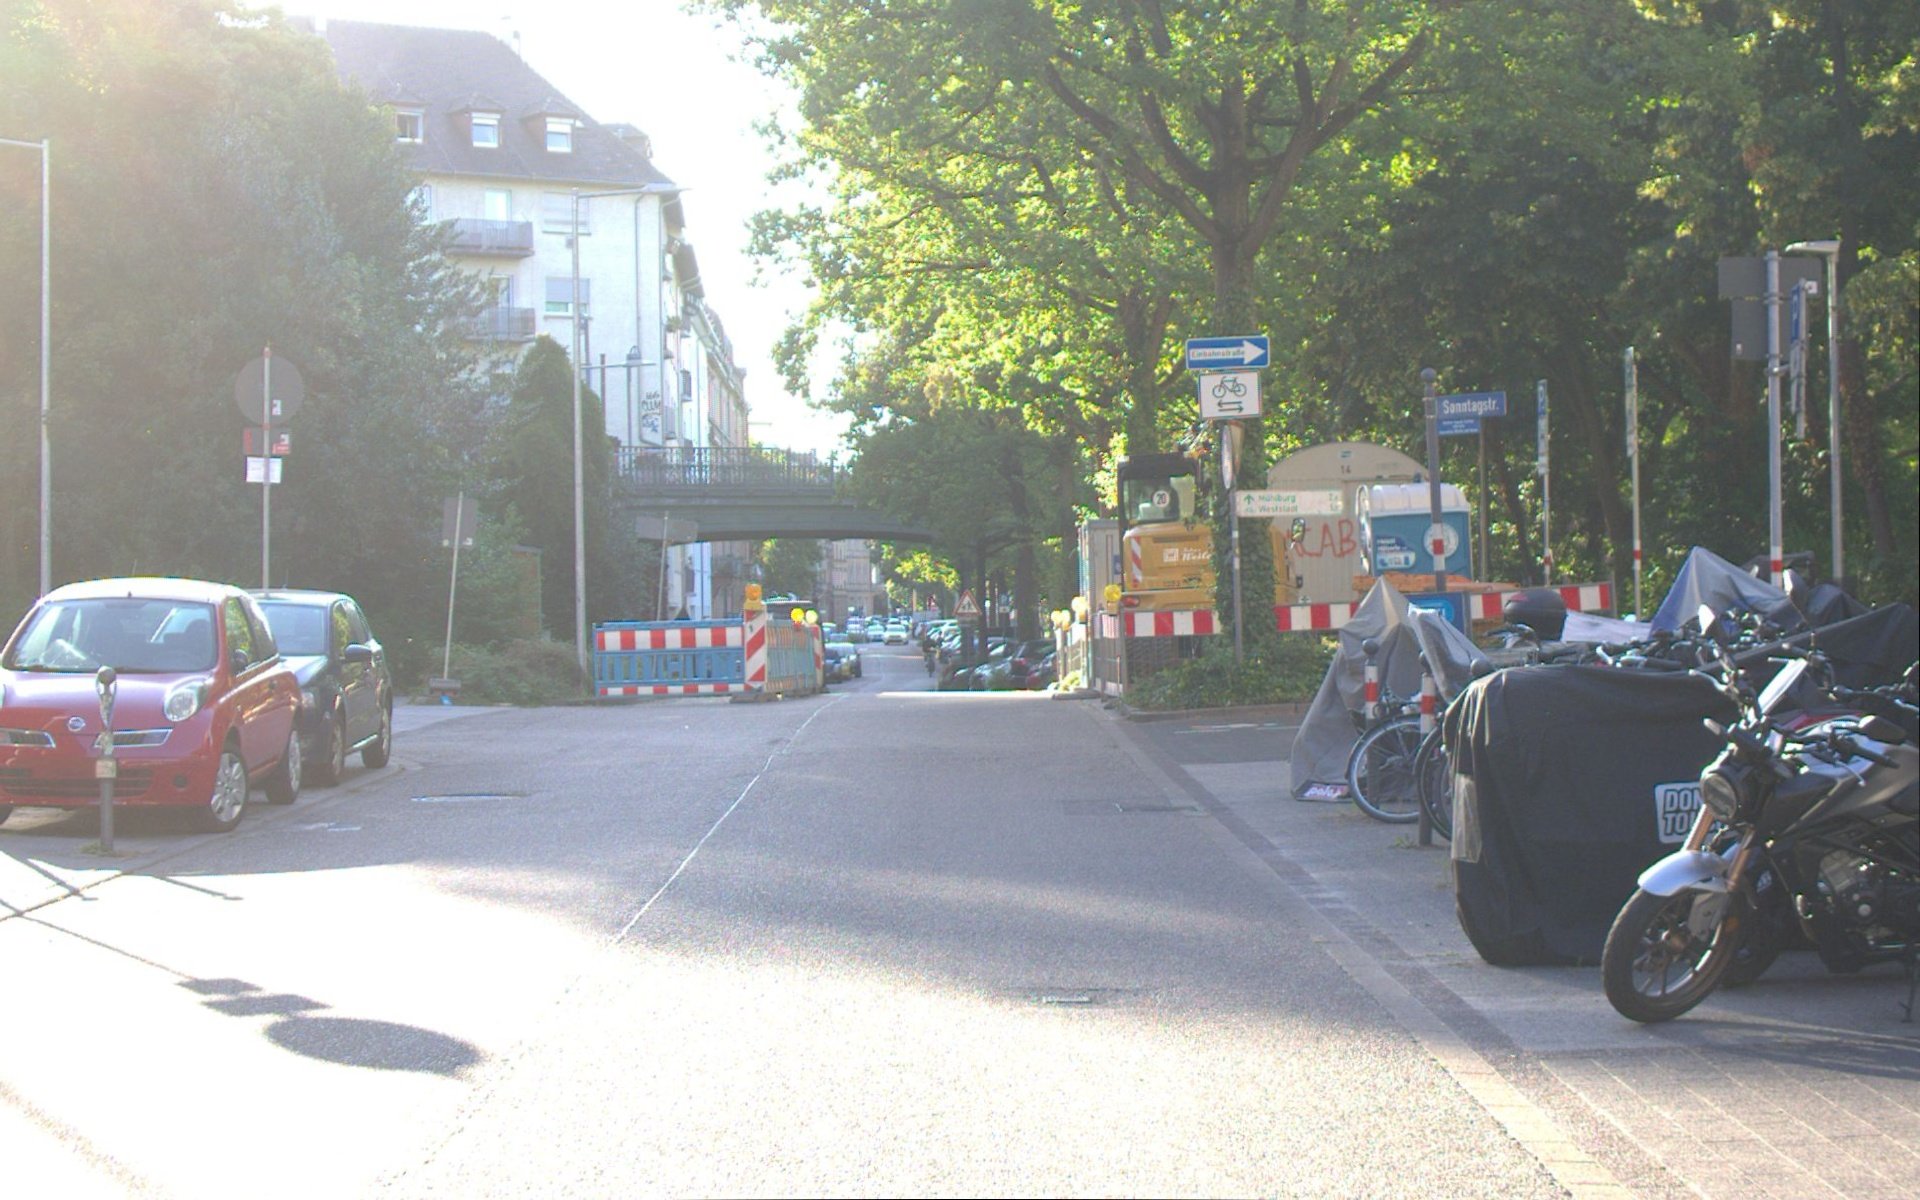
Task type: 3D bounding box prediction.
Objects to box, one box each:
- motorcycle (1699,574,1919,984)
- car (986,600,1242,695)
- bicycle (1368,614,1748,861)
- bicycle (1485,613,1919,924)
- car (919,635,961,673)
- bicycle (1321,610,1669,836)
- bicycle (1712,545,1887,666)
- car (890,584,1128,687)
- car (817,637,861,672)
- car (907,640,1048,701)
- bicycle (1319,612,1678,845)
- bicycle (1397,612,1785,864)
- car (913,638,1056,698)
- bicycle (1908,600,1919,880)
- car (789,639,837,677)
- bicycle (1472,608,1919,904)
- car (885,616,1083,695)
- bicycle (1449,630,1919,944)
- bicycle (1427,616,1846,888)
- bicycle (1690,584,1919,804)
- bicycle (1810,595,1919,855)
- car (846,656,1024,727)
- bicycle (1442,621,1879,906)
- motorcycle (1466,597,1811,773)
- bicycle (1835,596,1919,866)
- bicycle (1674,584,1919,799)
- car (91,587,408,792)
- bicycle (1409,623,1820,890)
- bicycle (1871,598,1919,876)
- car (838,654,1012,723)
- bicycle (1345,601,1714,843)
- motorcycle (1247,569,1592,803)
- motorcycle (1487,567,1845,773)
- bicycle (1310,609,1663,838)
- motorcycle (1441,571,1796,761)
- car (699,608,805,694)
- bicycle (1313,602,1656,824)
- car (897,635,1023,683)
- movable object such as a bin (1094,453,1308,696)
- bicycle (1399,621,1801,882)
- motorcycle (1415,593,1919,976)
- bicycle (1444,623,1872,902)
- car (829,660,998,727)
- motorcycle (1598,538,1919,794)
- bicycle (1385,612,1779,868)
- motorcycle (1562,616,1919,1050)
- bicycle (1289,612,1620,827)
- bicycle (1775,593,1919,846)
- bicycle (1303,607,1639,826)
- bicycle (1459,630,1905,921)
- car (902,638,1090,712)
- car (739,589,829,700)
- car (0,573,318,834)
[{"bbox_3d":[3.683,0.581,11.979,2.023,1.357,0.694,-2,1,0],"label":"motorcycle"},{"bbox_3d":[2.730,0.864,61.689,4.386,1.601,1.917,1,-3,-4],"label":"car"},{"bbox_3d":[3.103,0.703,17.852,1.924,1.242,0.303,-1,0,-6],"label":"bicycle"},{"bbox_3d":[3.233,0.687,14.415,1.924,1.242,0.648,-1,0,-6],"label":"bicycle"},{"bbox_3d":[-0.861,2.337,148.677,1.775,1.604,4.402,-1,-1,0],"label":"car"},{"bbox_3d":[3.024,0.686,19.457,1.924,1.242,0.303,-1,0,-6],"label":"bicycle"},{"bbox_3d":[9.353,0.051,38.415,1.023,1.281,2.147,-2,1,-12],"label":"bicycle"},{"bbox_3d":[0.978,0.751,70.601,4.741,1.990,1.917,1,-3,-4],"label":"car"},{"bbox_3d":[-5.251,2.376,149.086,1.812,1.393,3.975,-2,-2,-1],"label":"car"},{"bbox_3d":[0.545,2.271,110.121,4.387,1.855,1.917,1,-3,-3],"label":"car"},{"bbox_3d":[2.953,0.696,18.872,1.924,1.242,0.303,-1,0,-6],"label":"bicycle"},{"bbox_3d":[3.209,0.695,17.498,1.924,1.242,0.303,-1,0,-6],"label":"bicycle"},{"bbox_3d":[0.745,2.146,107.559,4.387,1.779,1.917,1,-3,-3],"label":"car"},{"bbox_3d":[5.225,0.614,15.228,1.924,1.242,0.479,-1,0,-6],"label":"bicycle"},{"bbox_3d":[-5.928,2.363,139.275,1.812,1.393,3.975,-2,-2,-1],"label":"car"},{"bbox_3d":[3.205,0.666,14.915,1.924,1.242,0.303,-1,0,-6],"label":"bicycle"},{"bbox_3d":[0.523,1.276,77.941,4.387,1.696,1.917,1,-3,-3],"label":"car"},{"bbox_3d":[2.912,0.731,13.649,1.817,1.124,0.443,-3,1,-1],"label":"bicycle"},{"bbox_3d":[3.184,0.706,16.202,1.924,1.242,0.303,-1,0,-6],"label":"bicycle"},{"bbox_3d":[5.259,0.534,19.988,1.924,1.242,0.479,-1,0,-6],"label":"bicycle"},{"bbox_3d":[5.159,0.592,16.791,1.924,1.242,0.395,-1,0,-6],"label":"bicycle"},{"bbox_3d":[-0.657,2.302,86.357,4.387,1.696,1.917,1,-3,-3],"label":"car"},{"bbox_3d":[3.167,0.730,15.552,1.924,1.242,0.303,-1,0,-6],"label":"bicycle"},{"bbox_3d":[4.691,0.577,23.775,2.284,1.176,0.970,-1,0,13],"label":"motorcycle"},{"bbox_3d":[5.162,0.600,16.275,1.924,1.242,0.479,-1,0,-6],"label":"bicycle"},{"bbox_3d":[5.267,0.533,20.500,1.924,1.242,0.452,-1,0,-6],"label":"bicycle"},{"bbox_3d":[-5.426,0.636,26.704,1.669,1.453,4.000,0,0,-1],"label":"car"},{"bbox_3d":[3.143,0.744,16.527,1.924,1.242,0.303,-1,0,-6],"label":"bicycle"},{"bbox_3d":[5.197,0.607,15.749,1.924,1.242,0.479,-1,0,-6],"label":"bicycle"},{"bbox_3d":[-0.928,2.276,88.436,4.387,1.696,1.917,1,-3,-3],"label":"car"},{"bbox_3d":[3.010,0.635,18.181,1.905,1.242,0.303,-1,0,-6],"label":"bicycle"},{"bbox_3d":[2.888,0.518,21.611,1.935,1.408,0.939,0,0,28],"label":"motorcycle"},{"bbox_3d":[4.673,0.462,22.824,2.284,1.337,0.656,-1,0,12],"label":"motorcycle"},{"bbox_3d":[2.941,0.684,19.218,1.924,1.242,0.303,-1,0,-6],"label":"bicycle"},{"bbox_3d":[4.812,0.467,25.194,2.364,1.337,0.941,-1,0,-10],"label":"motorcycle"},{"bbox_3d":[-3.738,0.954,62.313,1.715,1.413,4.106,-2,-2,-1],"label":"car"},{"bbox_3d":[3.017,0.644,19.794,1.924,1.242,0.303,-1,0,-6],"label":"bicycle"},{"bbox_3d":[-0.008,2.088,122.094,4.387,1.604,1.781,1,-3,-3],"label":"car"},{"bbox_3d":[2.836,-0.285,39.851,1.995,2.690,3.108,-1,0,13],"label":"movable object such as a bin"},{"bbox_3d":[3.139,0.735,16.874,1.924,1.242,0.303,-1,0,-6],"label":"bicycle"},{"bbox_3d":[2.824,0.668,12.961,2.023,1.280,0.904,-3,1,-2],"label":"motorcycle"},{"bbox_3d":[3.220,0.739,15.867,1.924,1.242,0.303,-1,0,-6],"label":"bicycle"},{"bbox_3d":[-1.250,2.488,90.803,4.387,1.696,1.917,1,-3,-3],"label":"car"},{"bbox_3d":[5.145,0.391,21.109,2.282,1.526,0.756,-1,0,-6],"label":"motorcycle"},{"bbox_3d":[3.113,0.693,17.210,1.924,1.242,0.303,-1,0,-6],"label":"bicycle"},{"bbox_3d":[3.011,0.720,11.054,2.014,1.323,0.621,-1,1,-4],"label":"motorcycle"},{"bbox_3d":[2.939,0.702,20.461,1.924,1.242,0.303,-1,0,-6],"label":"bicycle"},{"bbox_3d":[5.128,0.585,17.323,1.924,1.242,0.479,-1,0,-6],"label":"bicycle"},{"bbox_3d":[2.987,0.675,20.115,1.924,1.242,0.303,-1,0,-6],"label":"bicycle"},{"bbox_3d":[3.193,0.766,15.223,1.924,1.242,0.303,-1,0,-6],"label":"bicycle"},{"bbox_3d":[0.847,1.806,82.287,4.387,1.696,1.917,1,-3,-3],"label":"car"},{"bbox_3d":[-4.200,1.106,82.211,2.047,2.489,5.697,1,-2,-3],"label":"car"},{"bbox_3d":[-5.283,0.600,22.251,1.669,1.525,4.000,0,0,-3],"label":"car"}]
